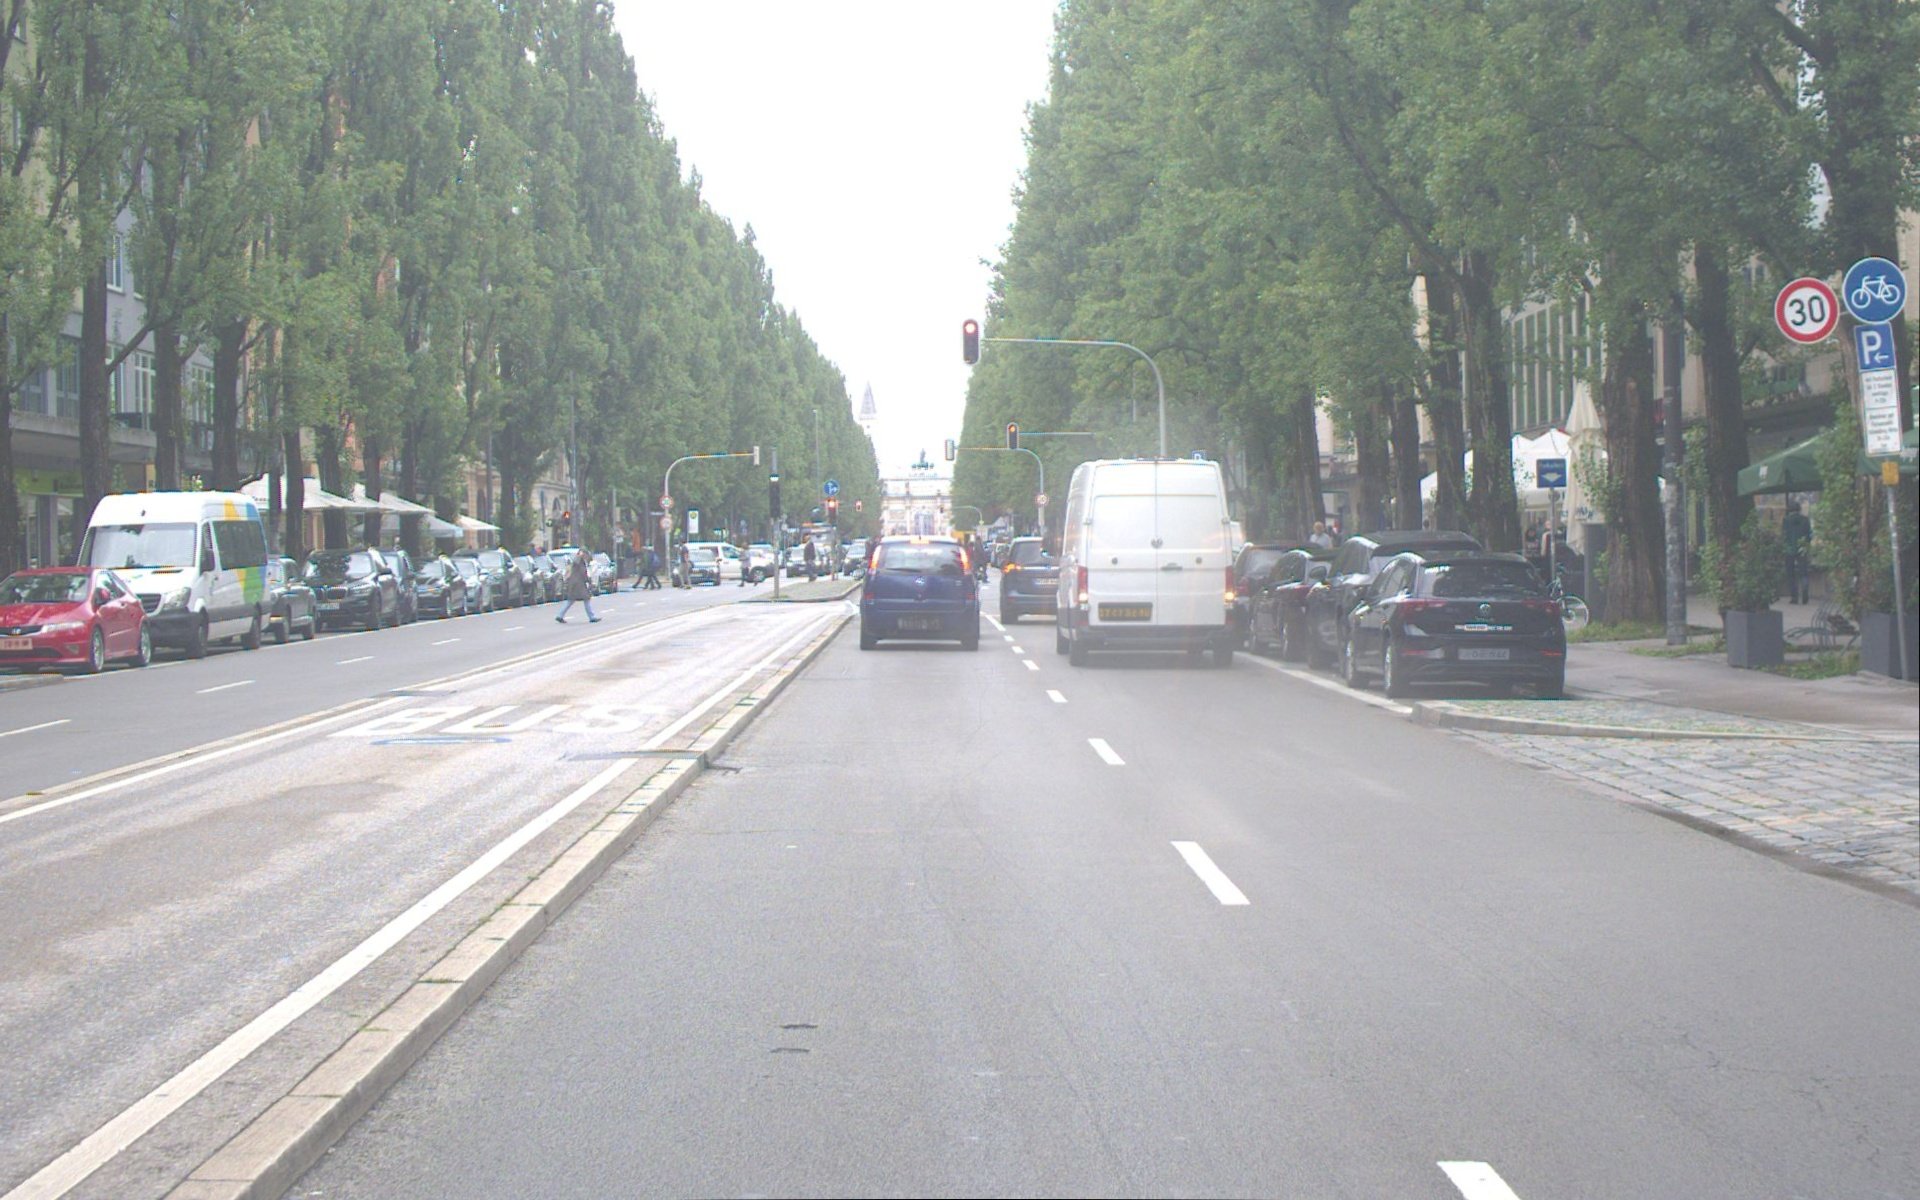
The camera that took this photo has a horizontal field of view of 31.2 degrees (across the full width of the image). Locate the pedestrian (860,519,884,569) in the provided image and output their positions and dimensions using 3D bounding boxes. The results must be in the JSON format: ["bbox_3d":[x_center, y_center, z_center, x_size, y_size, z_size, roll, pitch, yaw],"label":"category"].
[{"bbox_3d":[-3.226,-2.056,125.614,0.719,1.820,0.888,1,0,-10],"label":"pedestrian"}]

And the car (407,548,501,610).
[{"bbox_3d":[-12.590,-0.550,85.724,1.733,1.421,4.144,-2,1,-1],"label":"car"}]

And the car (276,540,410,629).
[{"bbox_3d":[-12.413,-0.341,69.427,1.866,1.658,4.611,-2,1,-1],"label":"car"}]

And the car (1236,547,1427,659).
[{"bbox_3d":[4.814,0.003,45.117,1.709,1.388,4.344,0,1,-5],"label":"car"}]

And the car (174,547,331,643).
[{"bbox_3d":[-12.530,-0.114,61.170,1.866,1.546,4.414,-2,1,-1],"label":"car"}]

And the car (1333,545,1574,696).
[{"bbox_3d":[4.904,0.161,34.610,1.694,1.411,3.952,-1,1,-2],"label":"car"}]

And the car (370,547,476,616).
[{"bbox_3d":[-12.560,-0.456,80.652,1.798,1.483,4.351,-2,1,-1],"label":"car"}]

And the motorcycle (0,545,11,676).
[{"bbox_3d":[-12.487,0.136,40.706,2.341,1.558,0.714,-1,1,-43],"label":"motorcycle"}]

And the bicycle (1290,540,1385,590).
[{"bbox_3d":[9.353,-0.873,85.200,2.227,1.200,0.626,-1,1,-2],"label":"bicycle"}]

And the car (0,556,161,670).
[{"bbox_3d":[-12.311,0.161,47.119,1.737,1.414,4.149,-2,1,-1],"label":"car"}]

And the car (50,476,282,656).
[{"bbox_3d":[-12.366,-0.570,54.062,2.005,2.559,6.912,-2,1,-1],"label":"car"}]

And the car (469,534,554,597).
[{"bbox_3d":[-12.739,-1.002,97.791,1.866,1.660,4.120,-2,1,-1],"label":"car"}]

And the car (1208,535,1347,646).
[{"bbox_3d":[4.488,-0.152,48.903,1.592,1.513,2.730,0,1,-3],"label":"car"}]

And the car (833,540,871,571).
[{"bbox_3d":[-5.228,-2.175,166.234,1.735,1.460,3.365,-1,1,-1],"label":"car"}]

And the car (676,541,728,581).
[{"bbox_3d":[-10.265,-1.569,136.968,1.697,1.457,4.713,-2,1,-1],"label":"car"}]

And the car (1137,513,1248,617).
[{"bbox_3d":[4.494,-0.709,67.117,1.787,1.939,4.731,0,1,-1],"label":"car"}]

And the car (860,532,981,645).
[{"bbox_3d":[-0.556,-0.198,49.549,1.671,1.563,4.000,0,1,0],"label":"car"}]

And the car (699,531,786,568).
[{"bbox_3d":[-9.375,-2.187,148.305,3.353,1.555,1.741,-1,1,-24],"label":"car"}]

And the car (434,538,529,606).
[{"bbox_3d":[-12.630,-0.765,90.913,1.866,1.660,4.401,-2,1,-1],"label":"car"}]

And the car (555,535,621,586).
[{"bbox_3d":[-13.041,-1.399,120.731,1.866,1.660,4.120,-2,1,-1],"label":"car"}]

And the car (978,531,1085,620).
[{"bbox_3d":[1.309,-0.484,64.744,1.896,1.616,4.000,0,1,0],"label":"car"}]

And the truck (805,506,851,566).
[{"bbox_3d":[-7.575,-3.656,197.416,2.383,3.335,7.111,-1,1,-1],"label":"truck"}]

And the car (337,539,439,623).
[{"bbox_3d":[-12.428,-0.441,74.858,1.709,1.715,3.923,-2,1,-3],"label":"car"}]

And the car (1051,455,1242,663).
[{"bbox_3d":[2.315,-0.556,44.387,2.063,2.484,6.730,0,1,0],"label":"car"}]

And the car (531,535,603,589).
[{"bbox_3d":[-12.955,-1.262,113.456,1.866,1.660,4.120,-2,1,-1],"label":"car"}]

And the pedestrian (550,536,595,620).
[{"bbox_3d":[-7.884,-0.452,70.036,0.859,1.678,0.627,-1,1,-3],"label":"pedestrian"}]

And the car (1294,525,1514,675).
[{"bbox_3d":[5.068,-0.035,39.807,1.803,1.632,4.448,0,1,-2],"label":"car"}]
